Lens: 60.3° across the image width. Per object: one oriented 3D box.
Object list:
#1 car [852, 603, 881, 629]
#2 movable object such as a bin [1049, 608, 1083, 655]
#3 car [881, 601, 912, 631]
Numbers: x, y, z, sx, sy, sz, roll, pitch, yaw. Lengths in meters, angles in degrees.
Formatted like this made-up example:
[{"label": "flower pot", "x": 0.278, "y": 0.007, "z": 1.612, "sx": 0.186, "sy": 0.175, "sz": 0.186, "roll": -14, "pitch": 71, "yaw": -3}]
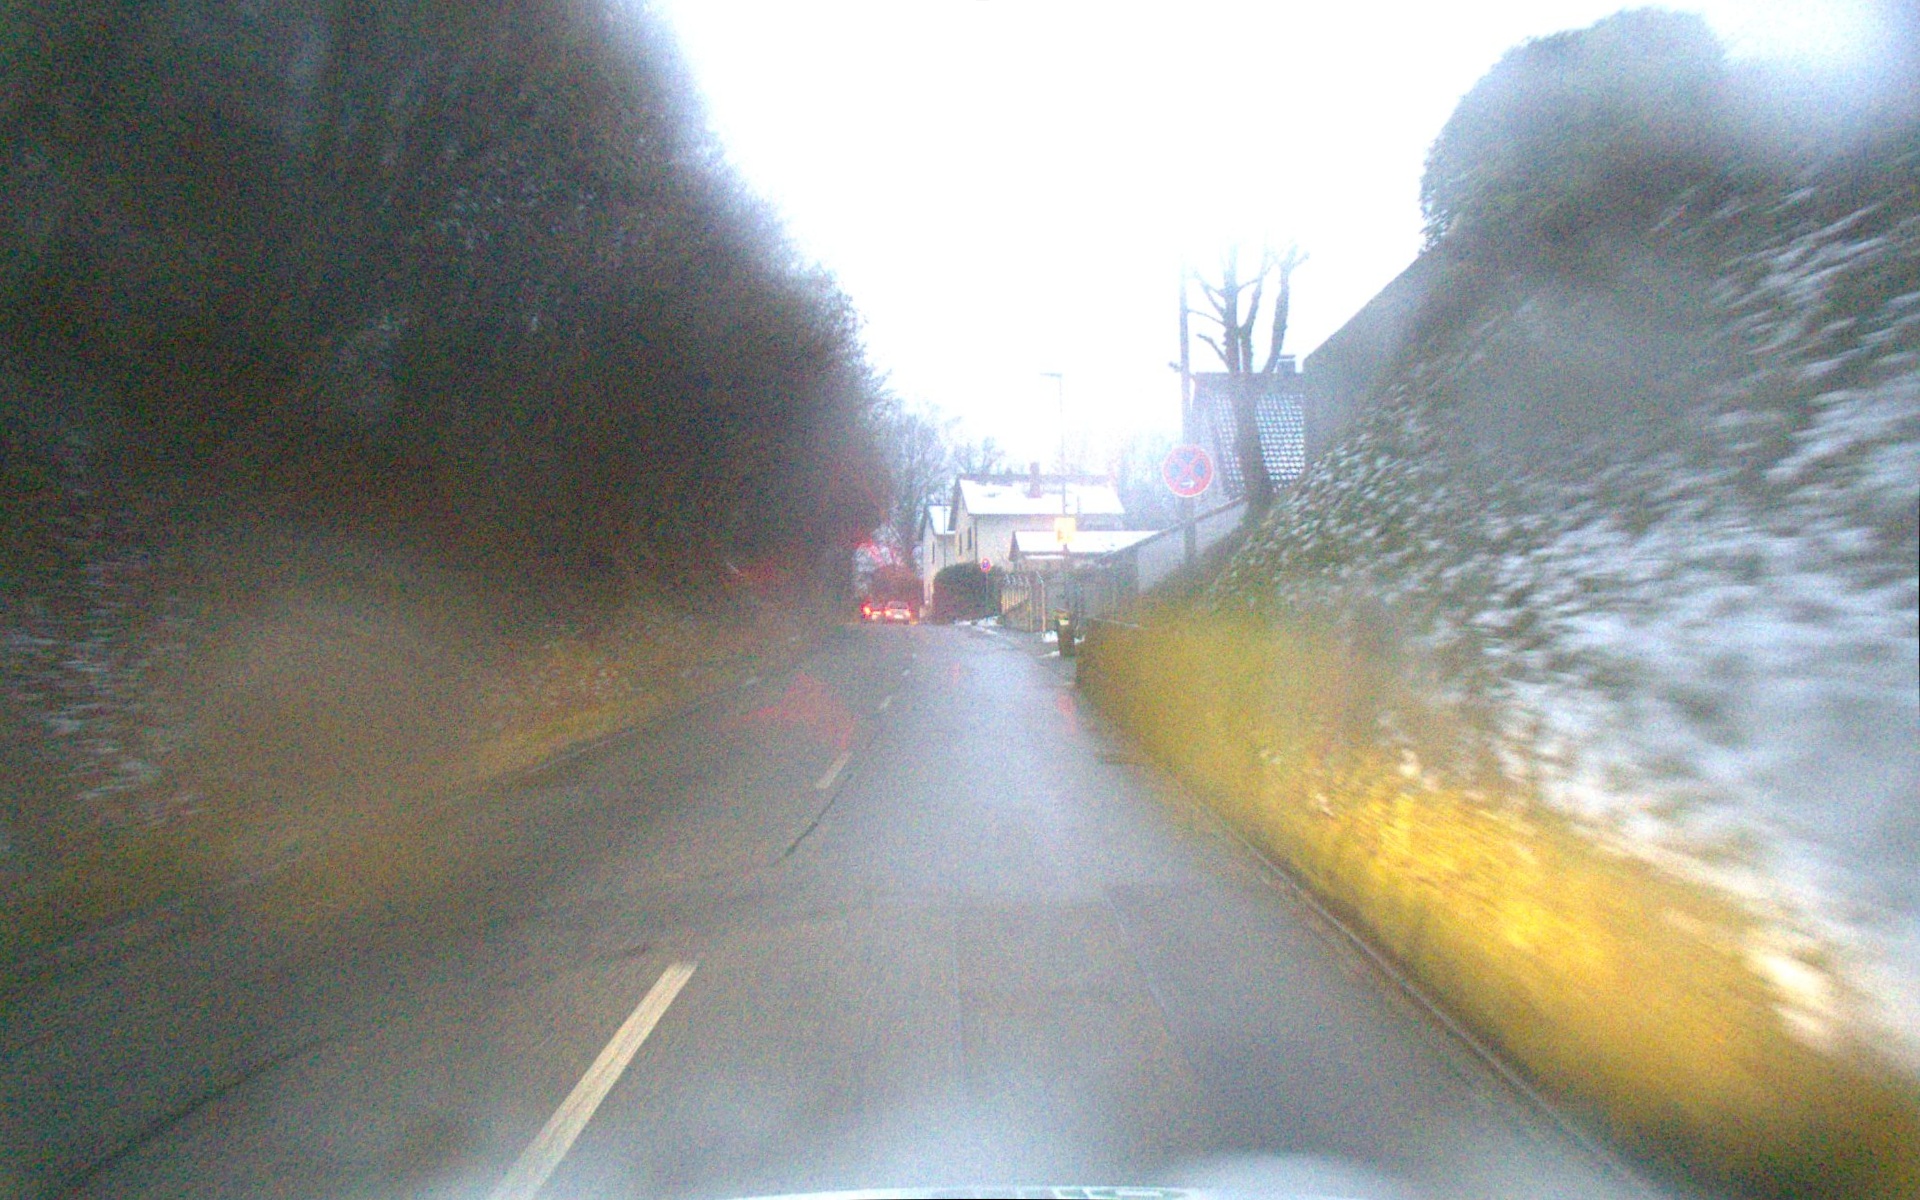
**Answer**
[{"label": "car", "x": -6.656, "y": 1.157, "z": 118.187, "sx": 1.768, "sy": 1.646, "sz": 3.999, "roll": 2, "pitch": -2, "yaw": 0}, {"label": "movable object such as a bin", "x": 2.376, "y": 0.710, "z": 36.970, "sx": 0.670, "sy": 1.021, "sz": 0.857, "roll": -2, "pitch": -3, "yaw": 8}, {"label": "car", "x": -4.013, "y": 1.018, "z": 105.137, "sx": 1.768, "sy": 1.769, "sz": 3.999, "roll": 2, "pitch": -2, "yaw": 0}]
